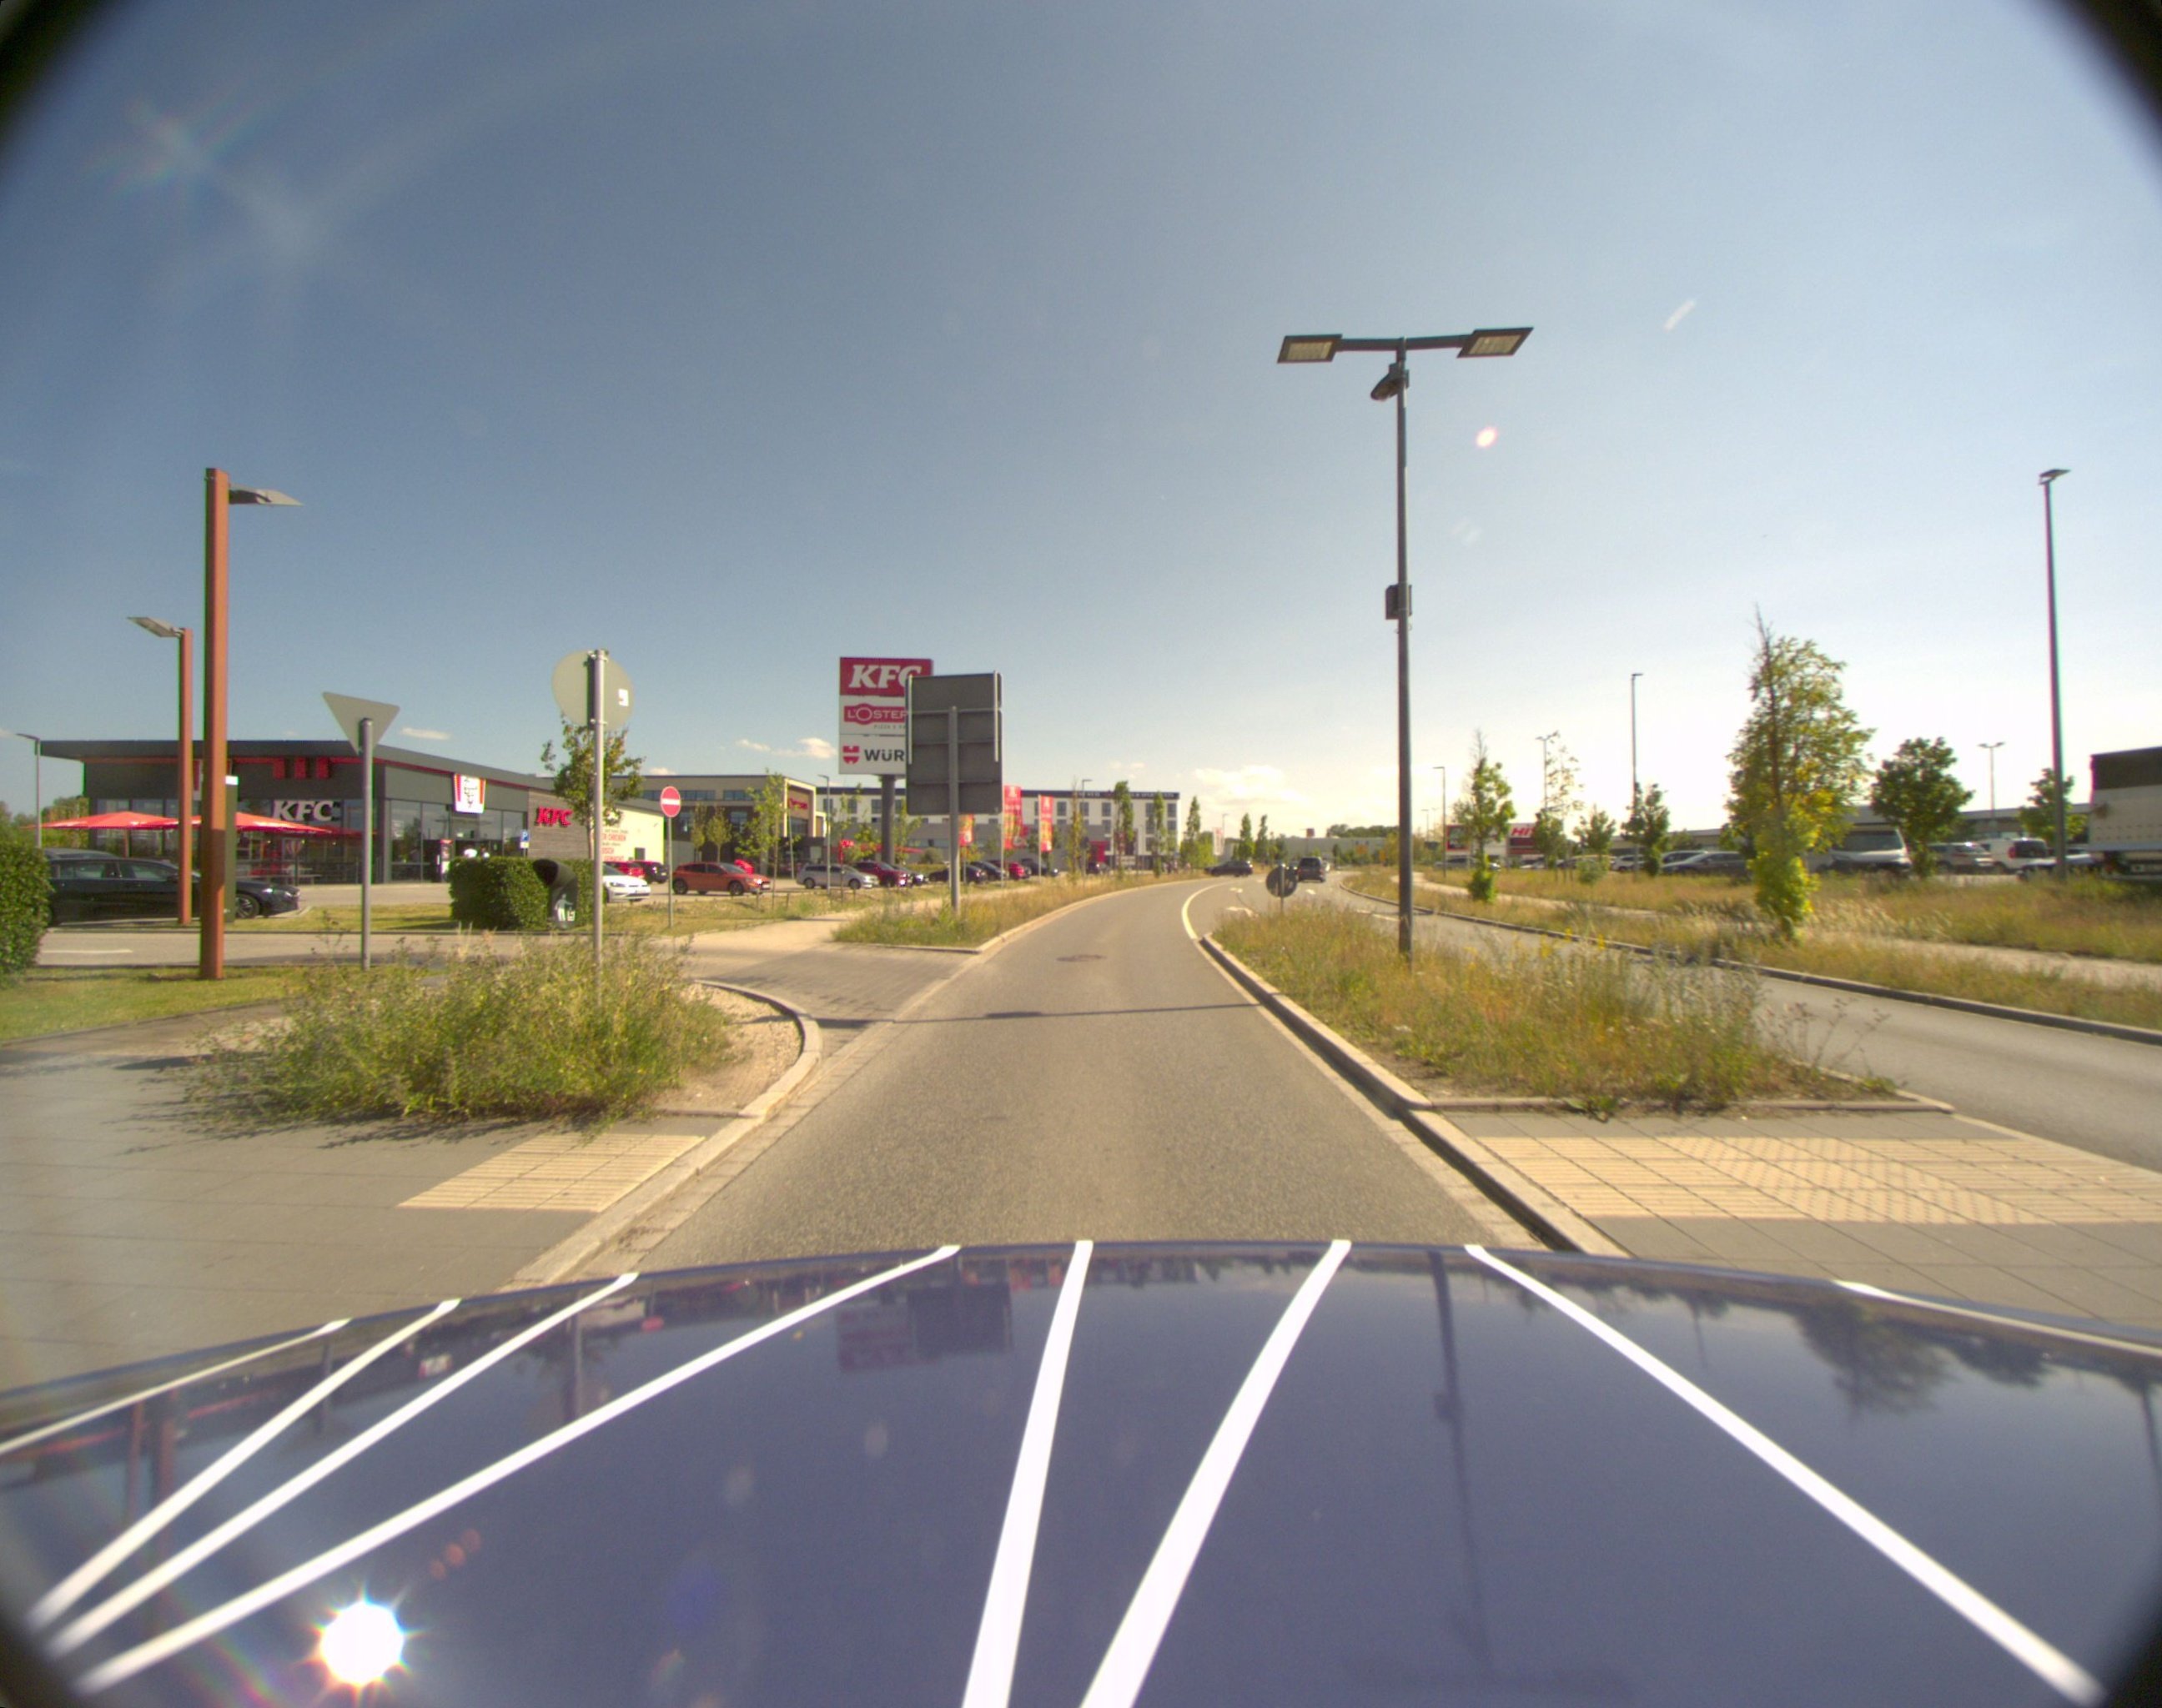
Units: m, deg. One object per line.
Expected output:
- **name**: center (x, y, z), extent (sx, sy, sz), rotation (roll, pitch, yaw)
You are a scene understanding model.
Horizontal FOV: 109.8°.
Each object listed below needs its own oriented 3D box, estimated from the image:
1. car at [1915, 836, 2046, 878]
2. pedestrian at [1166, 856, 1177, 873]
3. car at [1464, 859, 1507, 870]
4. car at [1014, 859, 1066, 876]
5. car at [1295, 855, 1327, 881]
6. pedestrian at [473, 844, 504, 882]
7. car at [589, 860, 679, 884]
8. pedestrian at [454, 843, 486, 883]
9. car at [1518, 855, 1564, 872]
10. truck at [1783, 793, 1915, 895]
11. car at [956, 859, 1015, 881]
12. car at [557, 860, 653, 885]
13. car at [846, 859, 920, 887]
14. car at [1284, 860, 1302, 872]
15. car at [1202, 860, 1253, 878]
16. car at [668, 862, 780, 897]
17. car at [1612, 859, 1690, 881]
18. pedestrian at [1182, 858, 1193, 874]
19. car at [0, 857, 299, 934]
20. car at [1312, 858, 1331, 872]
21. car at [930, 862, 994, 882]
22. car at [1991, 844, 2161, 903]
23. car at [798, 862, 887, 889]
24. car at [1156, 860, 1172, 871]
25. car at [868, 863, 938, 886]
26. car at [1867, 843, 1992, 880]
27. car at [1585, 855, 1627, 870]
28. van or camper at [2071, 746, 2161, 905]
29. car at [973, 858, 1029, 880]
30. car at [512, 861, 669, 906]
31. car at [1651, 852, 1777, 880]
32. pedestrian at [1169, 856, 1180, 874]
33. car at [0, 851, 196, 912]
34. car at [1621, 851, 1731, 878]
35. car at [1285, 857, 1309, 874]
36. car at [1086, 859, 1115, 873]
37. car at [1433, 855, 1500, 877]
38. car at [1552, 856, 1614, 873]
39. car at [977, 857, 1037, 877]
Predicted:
- **car**: center (46.921, 0.172, 39.796), extent (1.836, 2.052, 4.383), rotation (0, 0, 3)
- **pedestrian**: center (8.448, 0.996, 71.075), extent (0.809, 1.618, 0.867), rotation (-1, 0, 23)
- **car**: center (59.468, 1.533, 111.858), extent (5.189, 1.662, 2.002), rotation (0, -1, 9)
- **car**: center (-3.867, 1.243, 71.815), extent (4.411, 1.557, 1.998), rotation (0, -1, 17)
- **car**: center (16.498, 1.005, 54.381), extent (1.953, 1.784, 4.434), rotation (1, -1, 19)
- **pedestrian**: center (-31.289, 0.473, 40.139), extent (0.915, 2.002, 0.891), rotation (0, 0, 5)
- **car**: center (-28.161, 1.116, 47.970), extent (4.566, 1.423, 1.869), rotation (1, -1, 1)
- **pedestrian**: center (-31.266, 0.459, 38.872), extent (0.915, 2.002, 0.891), rotation (0, 0, 5)
- **car**: center (51.423, 1.020, 85.009), extent (4.148, 1.850, 1.936), rotation (0, -1, 21)
- **truck**: center (29.272, -0.318, 29.271), extent (2.317, 3.444, 7.510), rotation (0, 0, 35)
- **car**: center (-7.817, 1.261, 62.374), extent (4.410, 1.724, 1.794), rotation (0, -1, 20)
- **car**: center (-28.371, 1.084, 45.405), extent (4.566, 1.423, 1.869), rotation (1, -1, 1)
- **car**: center (-12.582, 1.198, 48.341), extent (4.159, 1.655, 1.871), rotation (0, -1, 16)
- **car**: center (28.120, 1.606, 100.527), extent (1.783, 1.485, 4.007), rotation (-1, 0, 23)
- **car**: center (14.091, 1.414, 73.108), extent (4.469, 1.669, 1.900), rotation (0, -2, -15)
- **car**: center (-15.953, 1.122, 34.068), extent (4.212, 1.481, 1.870), rotation (0, -1, 9)
- **car**: center (42.595, 1.157, 56.855), extent (1.921, 1.538, 4.216), rotation (0, 0, -31)
- **pedestrian**: center (9.956, 1.081, 70.948), extent (0.793, 1.461, 0.950), rotation (-1, 0, 23)
- **car**: center (-19.805, 0.797, 16.323), extent (1.698, 1.453, 4.178), rotation (0, 0, 44)
- **car**: center (30.279, 1.402, 95.645), extent (1.952, 1.716, 4.434), rotation (1, -1, 22)
- **car**: center (-9.039, 1.374, 57.815), extent (4.410, 1.440, 1.794), rotation (0, -1, 18)
- **car**: center (28.207, 0.515, 20.662), extent (4.376, 1.543, 1.839), rotation (0, 0, 6)
- **car**: center (-13.705, 1.218, 43.769), extent (4.562, 1.481, 1.871), rotation (1, -1, 12)
- **car**: center (11.681, 1.598, 106.534), extent (1.515, 1.399, 4.006), rotation (0, -1, 17)
- **car**: center (-11.905, 1.342, 50.914), extent (4.160, 1.440, 1.793), rotation (1, -1, 10)
- **car**: center (44.272, 0.375, 39.804), extent (1.836, 1.813, 4.383), rotation (0, 0, 3)
- **car**: center (87.927, 1.439, 127.205), extent (5.715, 2.572, 1.940), rotation (0, 0, 0)
- **van or camper**: center (27.275, -0.640, 16.375), extent (7.707, 3.448, 2.557), rotation (0, 0, 7)
- **car**: center (-6.843, 1.275, 65.205), extent (4.410, 1.724, 1.794), rotation (0, -1, 20)
- **car**: center (-17.279, 1.020, 26.849), extent (4.534, 1.481, 1.870), rotation (0, -1, 9)
- **car**: center (31.643, 0.610, 38.147), extent (4.429, 1.375, 1.978), rotation (-1, 0, 17)
- **pedestrian**: center (8.617, 1.015, 70.343), extent (0.801, 1.620, 0.806), rotation (-1, 0, 23)
- **car**: center (-27.796, 0.738, 21.195), extent (4.166, 1.625, 1.791), rotation (0, 0, 1)
- **car**: center (33.627, 0.598, 43.083), extent (4.581, 1.450, 1.840), rotation (-1, 0, 17)
- **car**: center (22.017, 1.195, 77.405), extent (1.753, 1.677, 4.389), rotation (0, -1, 23)
- **car**: center (2.182, 1.338, 83.981), extent (1.781, 1.531, 4.176), rotation (0, 0, 24)
- **car**: center (31.754, 1.011, 62.683), extent (4.765, 1.633, 2.120), rotation (-2, -2, 26)
- **car**: center (58.529, 1.211, 88.718), extent (5.689, 1.953, 2.002), rotation (0, 0, 14)
- **car**: center (-6.645, 1.184, 68.650), extent (4.987, 1.724, 1.942), rotation (0, -1, 17)
